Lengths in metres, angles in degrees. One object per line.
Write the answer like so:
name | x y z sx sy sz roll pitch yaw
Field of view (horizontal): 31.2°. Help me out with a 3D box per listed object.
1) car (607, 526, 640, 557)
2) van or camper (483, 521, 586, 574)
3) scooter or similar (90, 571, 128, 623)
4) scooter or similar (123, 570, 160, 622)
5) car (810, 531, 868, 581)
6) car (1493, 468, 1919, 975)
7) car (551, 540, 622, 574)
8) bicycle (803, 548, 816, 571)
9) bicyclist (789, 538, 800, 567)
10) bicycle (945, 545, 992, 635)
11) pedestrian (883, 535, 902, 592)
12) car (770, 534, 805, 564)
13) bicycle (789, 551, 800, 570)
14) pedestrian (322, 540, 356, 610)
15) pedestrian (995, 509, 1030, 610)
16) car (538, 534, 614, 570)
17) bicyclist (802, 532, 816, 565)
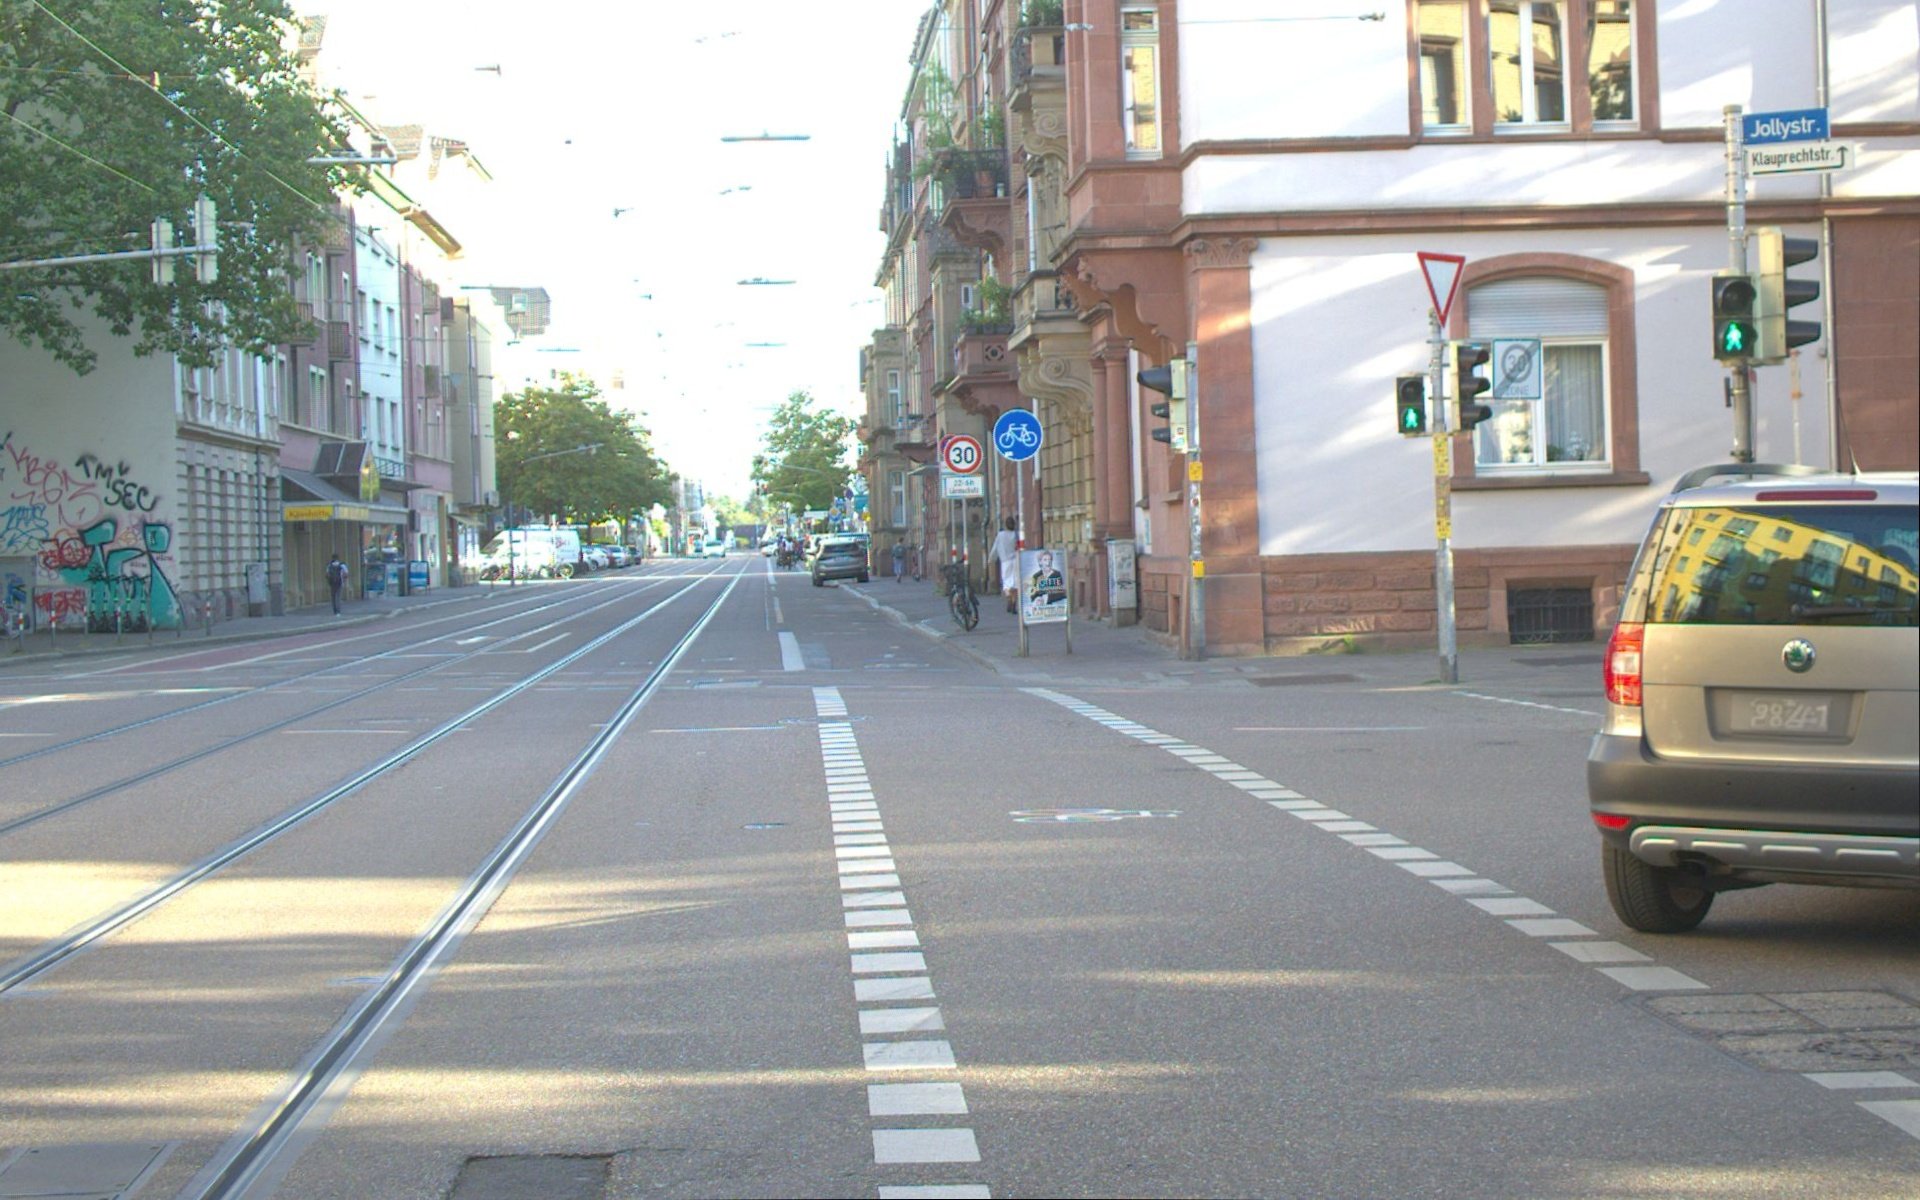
car | -22.793 -3.937 232.818 1.993 2.007 4.001 -2 1 -4
van or camper | -21.146 -2.615 171.052 4.635 2.554 2.000 -2 1 -34
scooter or similar | -17.815 -0.072 72.017 0.516 1.042 1.478 -2 1 -5
scooter or similar | -17.161 -0.092 72.082 0.516 1.053 1.478 -2 1 -5
car | -4.272 -1.563 121.514 1.950 1.678 4.000 -2 1 -2
car | 3.801 0.365 12.868 1.997 1.612 3.992 2 1 35
car | -23.880 -2.745 219.950 3.986 2.007 2.000 -2 1 -27
bicycle | -7.027 -1.900 160.475 0.575 1.026 1.895 -2 1 -2
bicyclist | -9.646 -2.780 199.919 0.575 1.673 0.795 -2 1 -2
bicycle | 0.119 -0.173 52.284 0.653 1.319 2.177 -2 1 -1
pedestrian | -2.159 -1.169 109.262 0.544 1.774 0.749 -2 1 -2
car | -10.132 -2.972 201.726 1.993 1.722 4.001 -1 1 -4
bicycle | -9.623 -2.287 199.944 0.575 1.026 1.895 -2 2 -2
pedestrian | -15.560 -0.625 86.180 0.701 1.722 0.648 -2 1 -3
pedestrian | 0.927 -0.721 60.992 0.544 1.774 0.504 -2 1 -2
car | -23.019 -2.889 206.196 3.986 2.007 2.000 -2 1 -27
bicyclist | -7.044 -2.397 160.462 0.575 1.548 0.595 -2 1 -2
